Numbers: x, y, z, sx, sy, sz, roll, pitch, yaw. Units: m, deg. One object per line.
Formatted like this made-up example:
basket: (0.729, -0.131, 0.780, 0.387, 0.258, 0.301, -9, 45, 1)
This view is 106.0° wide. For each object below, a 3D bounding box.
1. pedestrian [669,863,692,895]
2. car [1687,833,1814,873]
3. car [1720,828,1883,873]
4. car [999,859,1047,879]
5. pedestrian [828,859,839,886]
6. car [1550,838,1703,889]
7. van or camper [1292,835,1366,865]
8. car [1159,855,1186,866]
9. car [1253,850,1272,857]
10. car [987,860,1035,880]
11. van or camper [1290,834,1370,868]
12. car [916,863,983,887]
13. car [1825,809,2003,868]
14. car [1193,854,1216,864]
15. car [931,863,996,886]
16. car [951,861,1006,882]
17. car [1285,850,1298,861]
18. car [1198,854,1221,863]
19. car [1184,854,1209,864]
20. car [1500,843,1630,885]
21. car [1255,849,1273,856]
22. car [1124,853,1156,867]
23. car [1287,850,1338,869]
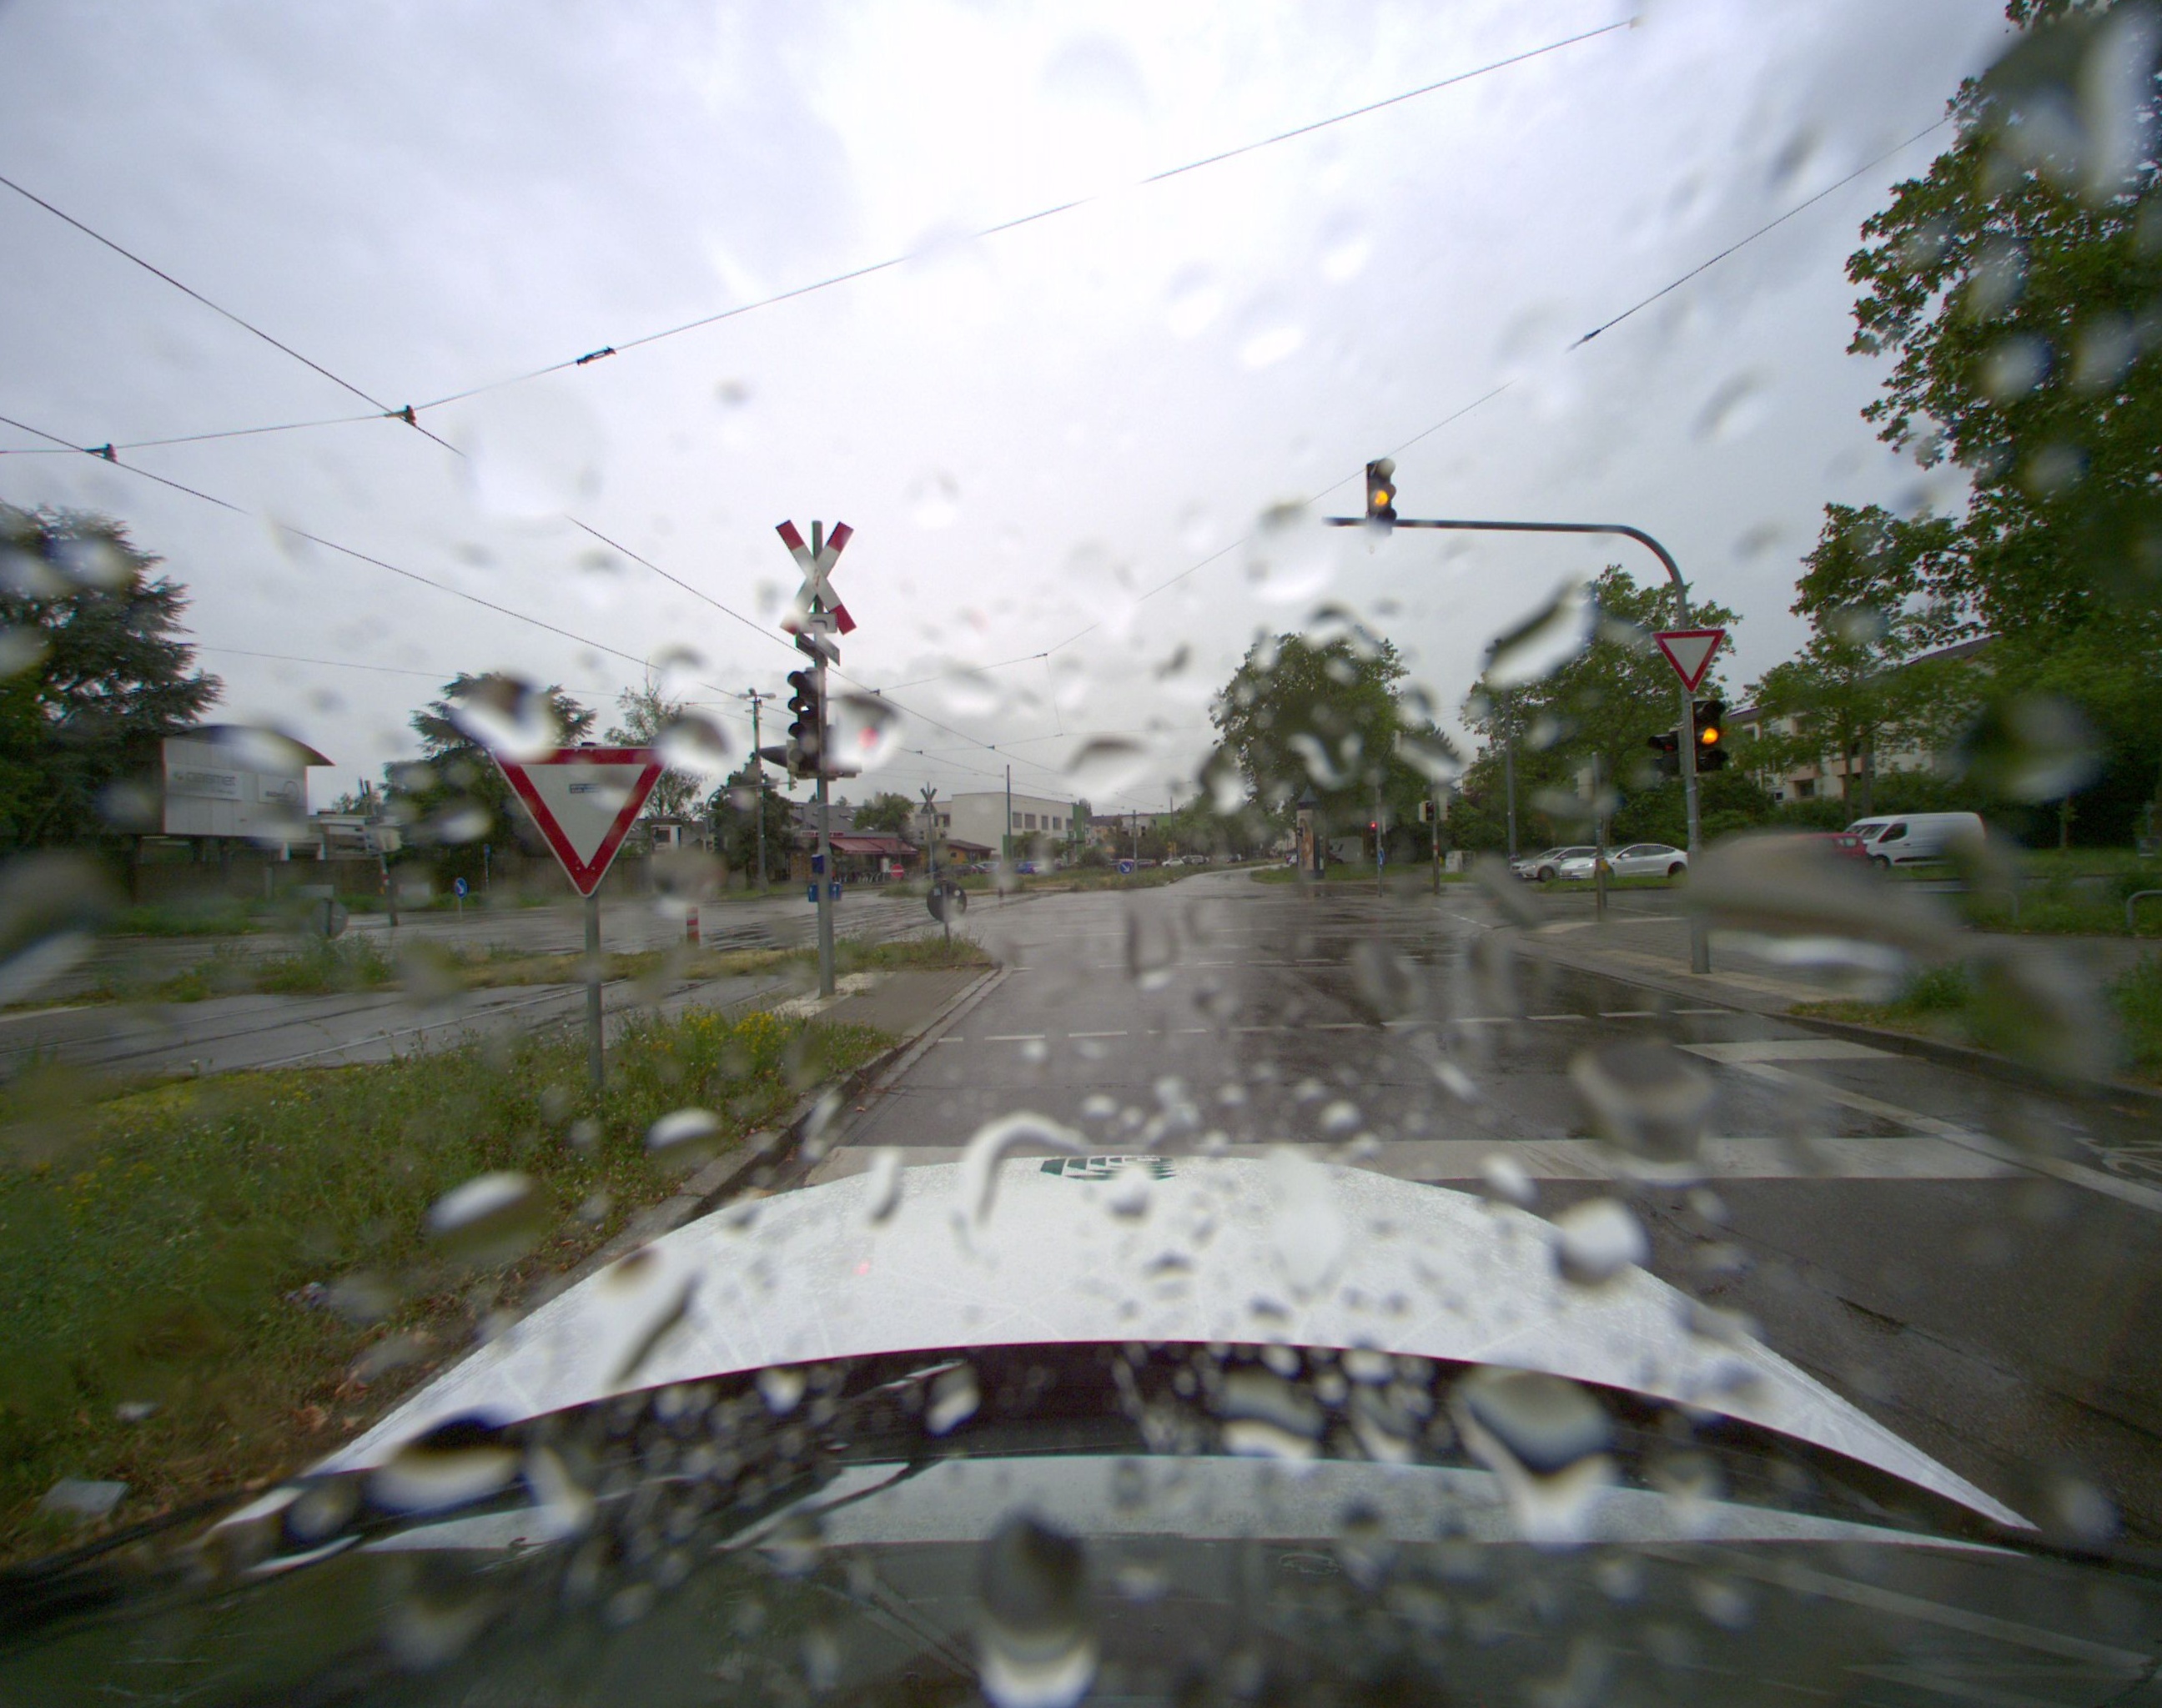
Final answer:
pedestrian: (-22.622, 1.392, 45.999, 0.717, 1.797, 0.892, 0, 0, 30)
car: (28.195, -0.042, 34.376, 4.048, 1.607, 1.788, 0, -1, -5)
car: (26.987, -0.105, 30.599, 4.589, 1.607, 1.790, 0, -1, -1)
car: (-5.217, 1.355, 73.219, 4.112, 1.641, 1.922, -1, -1, -12)
pedestrian: (-18.547, 1.390, 61.022, 0.726, 2.014, 0.789, 0, -1, -21)
car: (20.477, 0.363, 30.692, 4.585, 1.828, 1.931, 0, -1, -5)
van or camper: (27.217, -0.423, 89.204, 7.359, 3.178, 3.281, -1, -1, 24)
car: (14.228, 0.952, 126.651, 3.772, 1.702, 1.832, 0, -1, -8)
car: (44.069, -0.138, 197.918, 3.977, 1.832, 1.998, 0, -1, -3)
car: (-6.032, 1.360, 70.086, 3.986, 1.582, 1.924, -2, -1, -9)
van or camper: (24.514, -0.233, 80.142, 7.261, 3.178, 3.278, -1, -1, 20)
car: (-9.553, 1.510, 59.387, 4.459, 1.418, 1.860, -3, -1, 3)
car: (35.233, -0.626, 34.548, 5.589, 2.392, 1.999, 0, -1, -2)
car: (23.251, 0.866, 153.533, 3.986, 1.832, 1.994, 0, -1, -10)
car: (-8.895, 1.540, 61.780, 4.478, 1.418, 1.860, -3, -1, 3)
car: (-8.170, 1.387, 65.156, 3.966, 1.582, 1.862, -2, -1, 6)
car: (33.078, 0.254, 127.940, 1.792, 1.686, 3.929, -1, -1, 18)
car: (24.989, 0.893, 158.564, 3.977, 1.832, 1.998, 0, -1, -3)
car: (20.438, 0.851, 144.574, 3.986, 1.759, 2.004, 0, -1, -10)
car: (20.182, 0.413, 34.061, 4.385, 1.691, 1.931, 0, -1, -5)
car: (45.515, -0.377, 202.623, 3.977, 1.832, 1.998, 0, -1, -3)
car: (7.951, 0.843, 110.234, 3.980, 1.887, 1.997, 0, -1, -5)
car: (21.965, 0.504, 77.264, 4.405, 1.717, 2.011, -1, -1, 23)
